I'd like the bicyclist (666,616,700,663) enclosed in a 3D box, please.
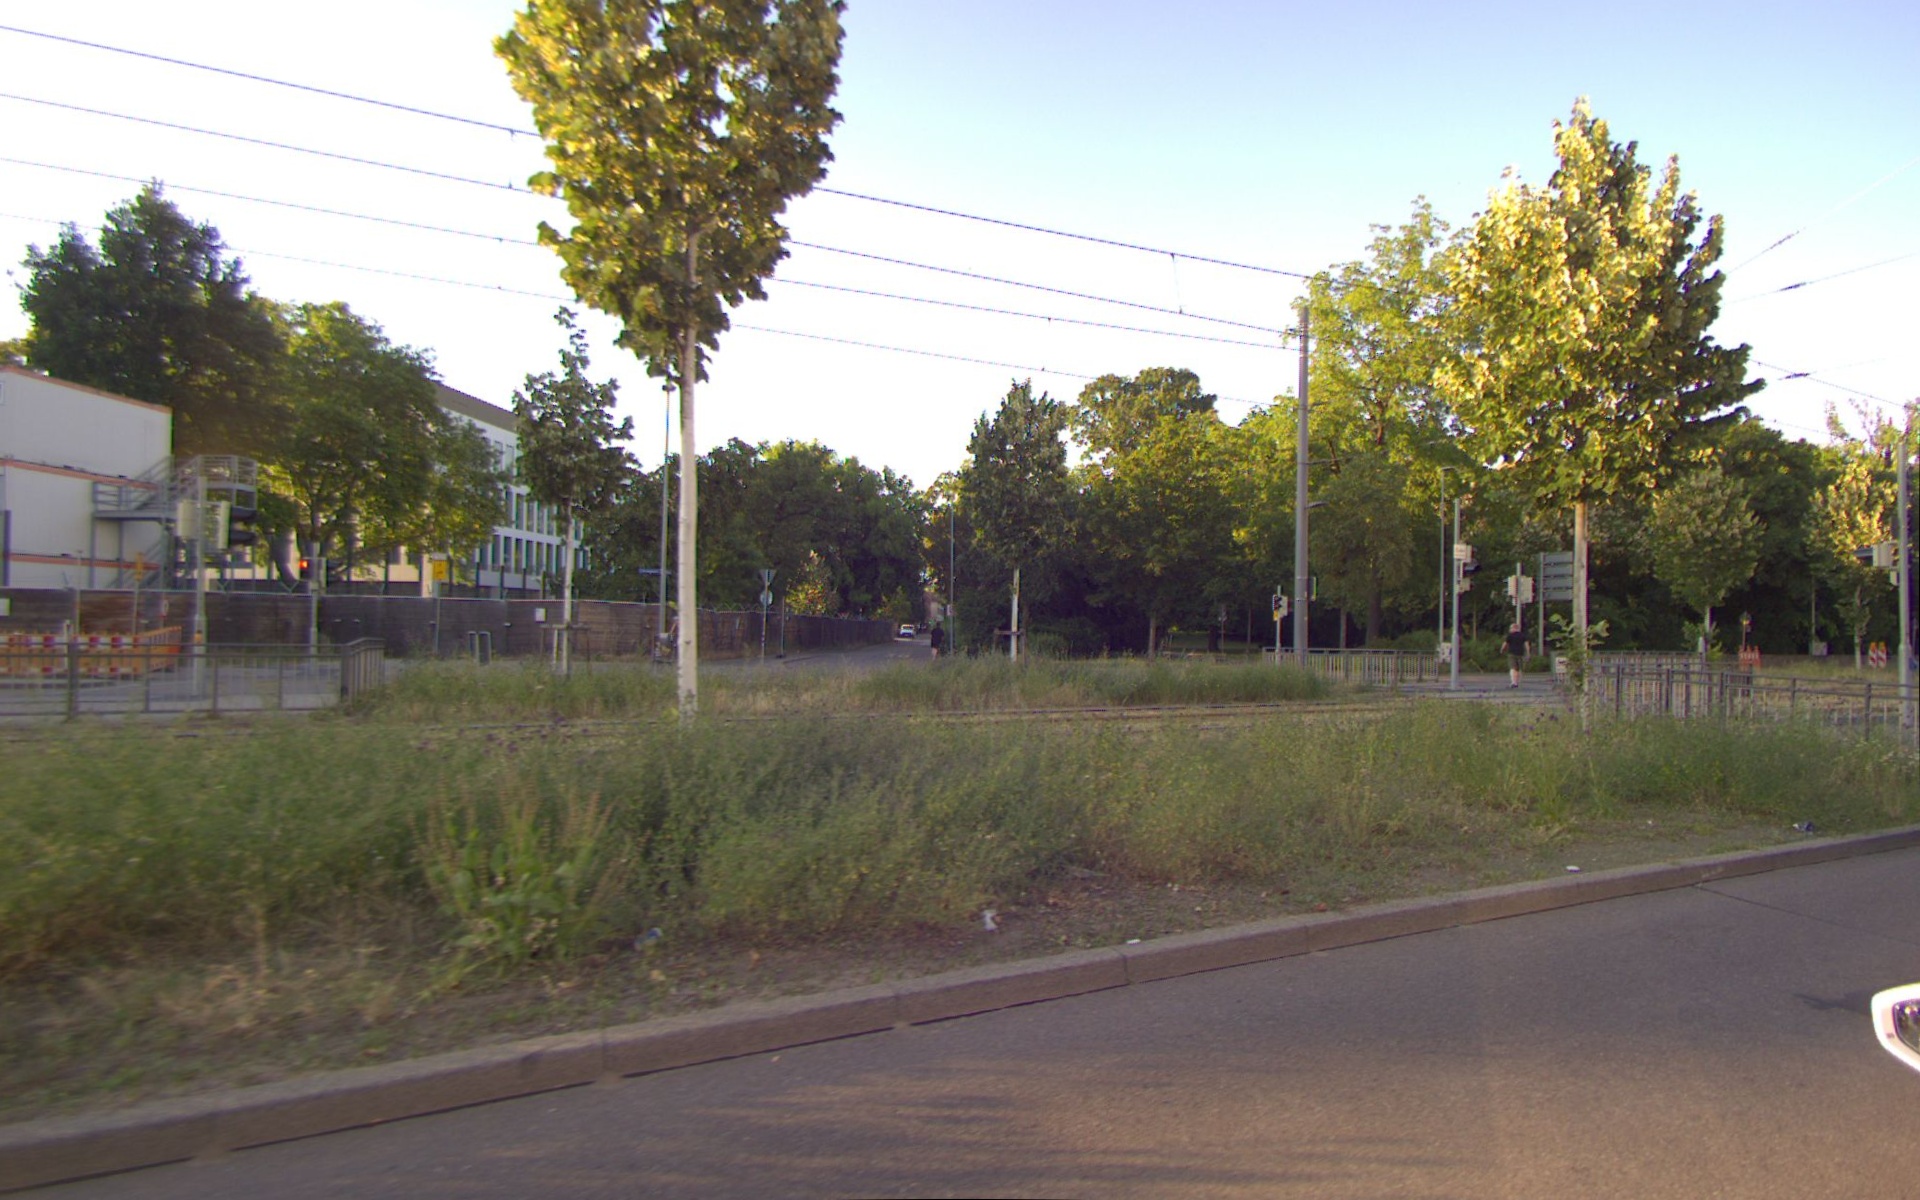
[{"bbox_3d":[-10.002,1.405,36.235,0.703,1.642,0.943,2,1,26],"label":"bicyclist"}]

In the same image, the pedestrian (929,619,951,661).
[{"bbox_3d":[-0.976,1.917,48.301,0.915,1.911,1.039,2,1,3],"label":"pedestrian"}]

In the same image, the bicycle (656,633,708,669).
[{"bbox_3d":[-10.015,1.822,36.242,0.703,1.148,1.896,2,1,26],"label":"bicycle"}]

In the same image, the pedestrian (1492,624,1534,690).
[{"bbox_3d":[14.284,1.469,25.968,0.665,1.629,0.670,-2,2,-5],"label":"pedestrian"}]
